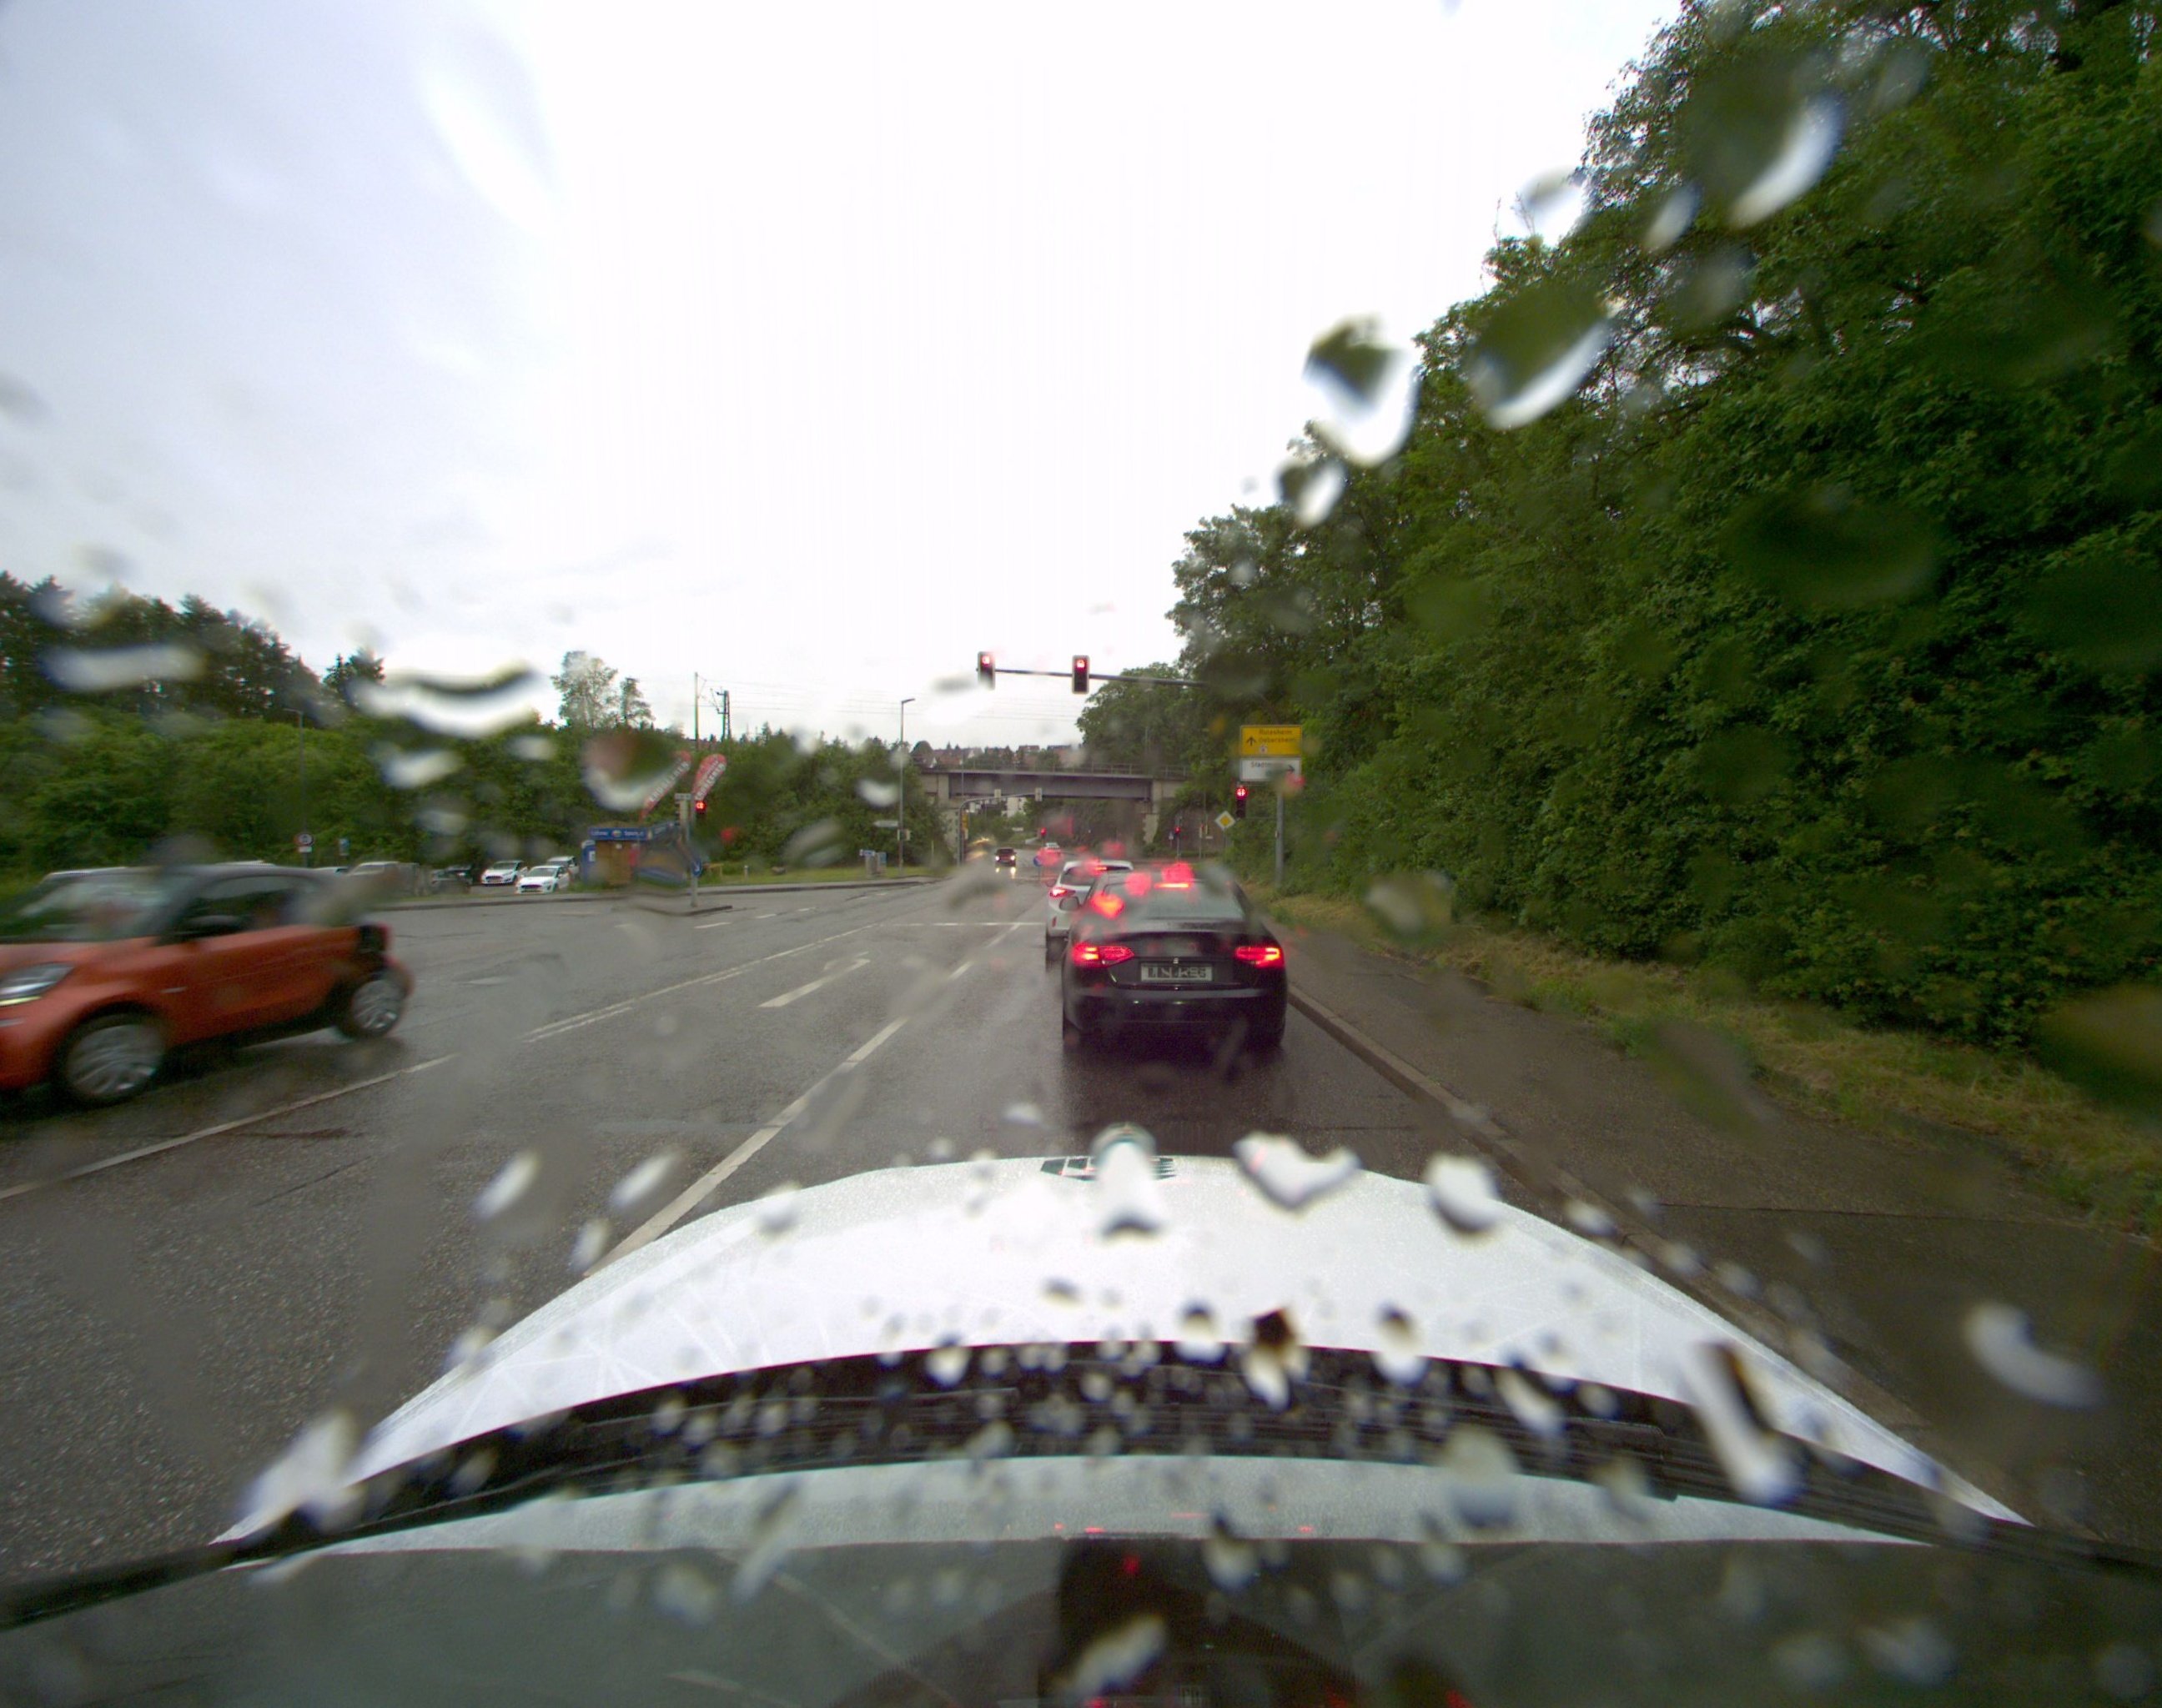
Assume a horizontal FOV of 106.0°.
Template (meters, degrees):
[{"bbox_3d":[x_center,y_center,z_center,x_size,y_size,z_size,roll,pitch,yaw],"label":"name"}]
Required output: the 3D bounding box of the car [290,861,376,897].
[{"bbox_3d":[-44.768,1.445,48.843,1.995,2.013,3.983,-2,0,-12],"label":"car"}]

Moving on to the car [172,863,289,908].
[{"bbox_3d":[-39.441,1.433,37.922,1.997,1.949,3.978,0,-1,-16],"label":"car"}]

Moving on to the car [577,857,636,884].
[{"bbox_3d":[-30.375,1.004,52.267,1.994,1.585,3.985,-2,0,-11],"label":"car"}]

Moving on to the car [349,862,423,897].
[{"bbox_3d":[-42.168,1.515,49.521,1.941,2.013,3.849,0,0,-15],"label":"car"}]

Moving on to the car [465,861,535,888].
[{"bbox_3d":[-35.515,1.265,49.948,1.994,1.585,3.984,0,-1,-11],"label":"car"}]

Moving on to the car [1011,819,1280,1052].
[{"bbox_3d":[0.505,0.561,7.644,1.863,1.616,4.001,0,0,2],"label":"car"}]

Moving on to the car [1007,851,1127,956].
[{"bbox_3d":[-0.150,0.791,14.383,1.816,1.585,4.001,-1,-1,2],"label":"car"}]

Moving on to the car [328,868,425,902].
[{"bbox_3d":[-34.625,1.489,40.174,1.937,1.585,3.892,0,-1,-11],"label":"car"}]

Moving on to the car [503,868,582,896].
[{"bbox_3d":[-27.829,1.400,42.297,1.652,1.340,4.883,0,-1,-11],"label":"car"}]

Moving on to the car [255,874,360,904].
[{"bbox_3d":[-37.163,1.639,39.265,1.751,1.310,3.984,0,-1,-11],"label":"car"}]

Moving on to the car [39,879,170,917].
[{"bbox_3d":[-44.362,1.944,37.137,1.837,1.585,3.978,0,-1,-16],"label":"car"}]

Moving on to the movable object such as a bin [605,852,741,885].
[{"bbox_3d":[-21.437,0.740,42.999,2.716,1.628,5.816,-2,-1,41],"label":"movable object such as a bin"}]

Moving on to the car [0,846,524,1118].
[{"bbox_3d":[-7.044,0.792,6.765,1.986,1.585,4.001,-1,-1,2],"label":"car"}]

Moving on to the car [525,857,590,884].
[{"bbox_3d":[-32.611,1.004,50.864,1.994,1.585,3.985,-2,0,-11],"label":"car"}]

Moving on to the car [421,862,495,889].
[{"bbox_3d":[-37.948,1.289,49.704,1.994,1.585,3.984,0,-1,-11],"label":"car"}]

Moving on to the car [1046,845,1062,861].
[{"bbox_3d":[-3.244,-0.113,97.882,1.800,1.742,4.475,-1,-1,-3],"label":"car"}]

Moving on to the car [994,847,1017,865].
[{"bbox_3d":[-6.977,0.173,75.393,1.990,1.628,3.993,-1,0,-5],"label":"car"}]

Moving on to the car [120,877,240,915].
[{"bbox_3d":[-41.728,1.907,37.844,1.858,1.585,3.978,0,-1,-16],"label":"car"}]
